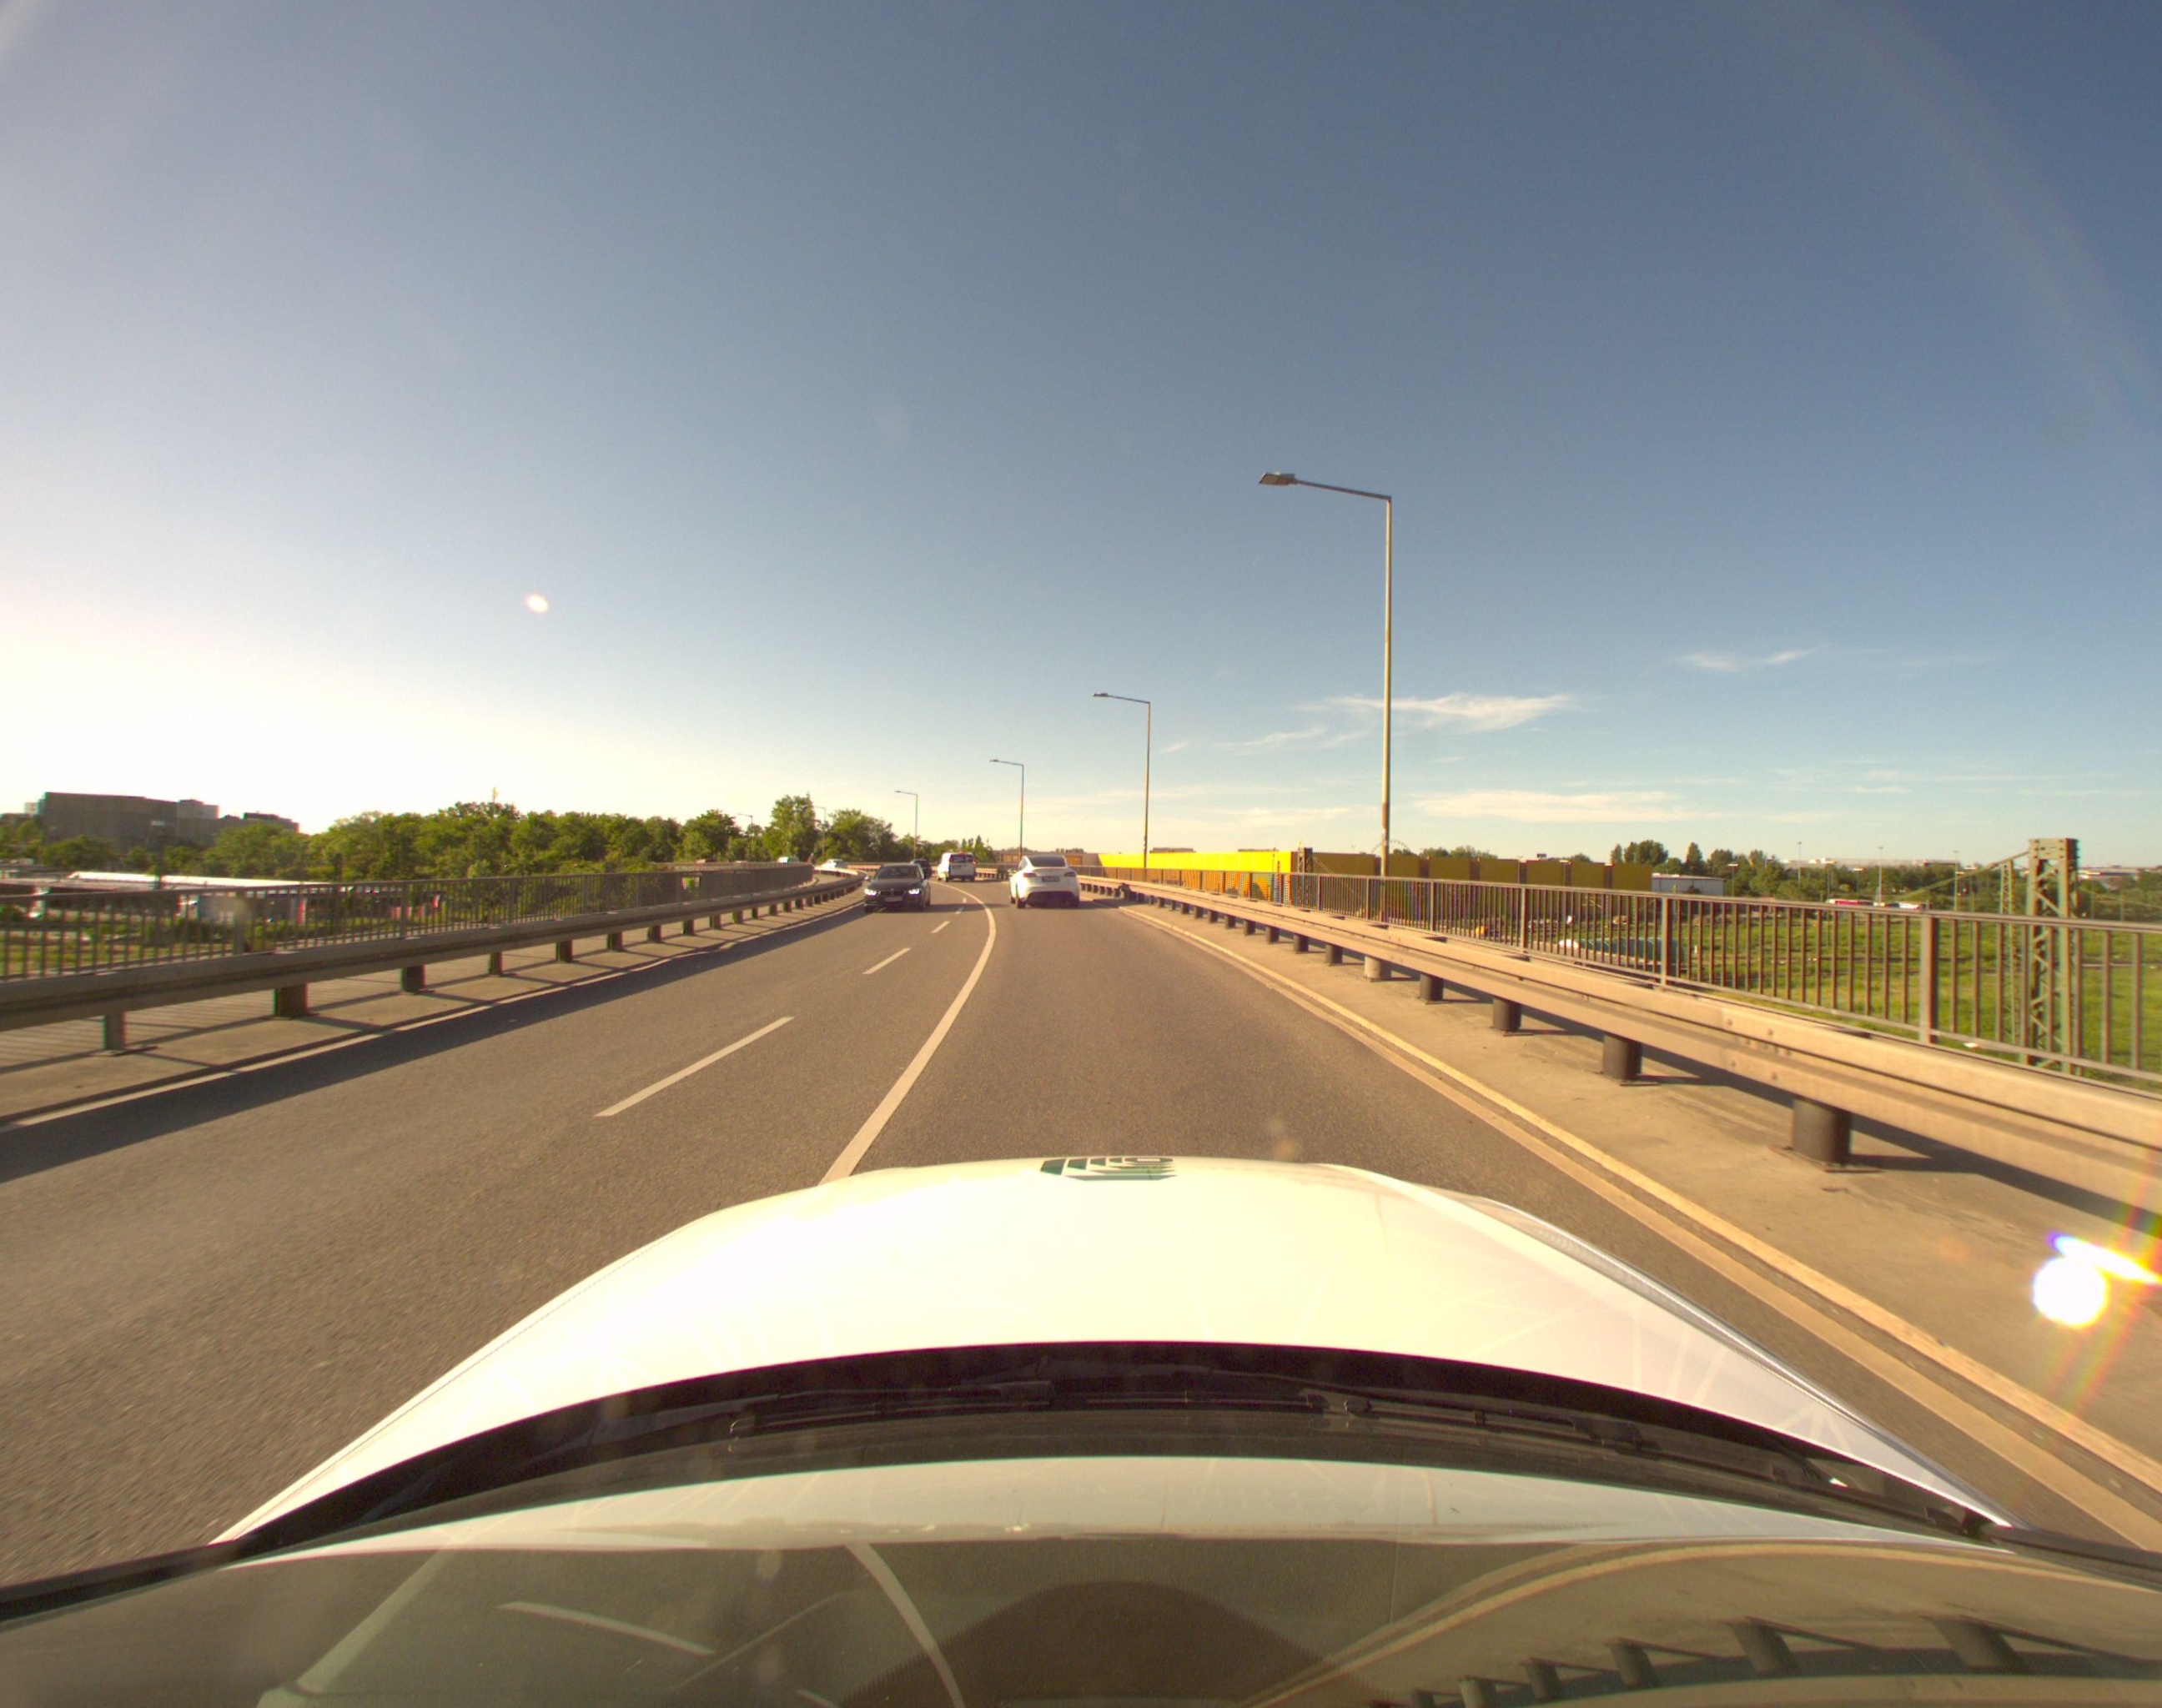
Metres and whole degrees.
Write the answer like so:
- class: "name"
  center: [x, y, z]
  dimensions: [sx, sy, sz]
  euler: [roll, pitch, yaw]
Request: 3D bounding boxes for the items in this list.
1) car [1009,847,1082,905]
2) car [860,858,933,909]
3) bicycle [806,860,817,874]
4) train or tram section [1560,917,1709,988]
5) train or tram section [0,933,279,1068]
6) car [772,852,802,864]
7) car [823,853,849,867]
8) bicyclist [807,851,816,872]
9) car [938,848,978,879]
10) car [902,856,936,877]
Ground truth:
- class: "car"
  center: [-1.217, 0.657, 25.943]
  dimensions: [1.983, 1.638, 4.052]
  euler: [-2, 0, -7]
- class: "car"
  center: [-5.752, 0.866, 25.805]
  dimensions: [1.872, 1.439, 4.309]
  euler: [-1, 0, -8]
- class: "bicycle"
  center: [-21.189, 1.046, 63.994]
  dimensions: [0.656, 1.065, 1.875]
  euler: [0, 0, -23]
- class: "train or tram section"
  center: [49.912, 8.675, 73.276]
  dimensions: [15.192, 5.183, 3.312]
  euler: [-1, 0, -23]
- class: "train or tram section"
  center: [-44.165, 6.028, 32.649]
  dimensions: [16.784, 4.591, 3.876]
  euler: [-1, 0, -23]
- class: "car"
  center: [-37.888, 0.529, 104.876]
  dimensions: [3.843, 1.555, 1.853]
  euler: [-1, 0, 37]
- class: "car"
  center: [-27.733, 0.675, 92.185]
  dimensions: [1.872, 1.585, 3.875]
  euler: [0, 0, -32]
- class: "bicyclist"
  center: [-21.155, 0.587, 63.907]
  dimensions: [0.656, 1.589, 0.762]
  euler: [0, -1, -24]
- class: "car"
  center: [-8.080, 0.588, 53.154]
  dimensions: [2.009, 1.940, 4.442]
  euler: [-1, 0, -16]
- class: "car"
  center: [-13.397, 1.022, 67.258]
  dimensions: [1.977, 1.638, 3.970]
  euler: [-2, 0, -22]
